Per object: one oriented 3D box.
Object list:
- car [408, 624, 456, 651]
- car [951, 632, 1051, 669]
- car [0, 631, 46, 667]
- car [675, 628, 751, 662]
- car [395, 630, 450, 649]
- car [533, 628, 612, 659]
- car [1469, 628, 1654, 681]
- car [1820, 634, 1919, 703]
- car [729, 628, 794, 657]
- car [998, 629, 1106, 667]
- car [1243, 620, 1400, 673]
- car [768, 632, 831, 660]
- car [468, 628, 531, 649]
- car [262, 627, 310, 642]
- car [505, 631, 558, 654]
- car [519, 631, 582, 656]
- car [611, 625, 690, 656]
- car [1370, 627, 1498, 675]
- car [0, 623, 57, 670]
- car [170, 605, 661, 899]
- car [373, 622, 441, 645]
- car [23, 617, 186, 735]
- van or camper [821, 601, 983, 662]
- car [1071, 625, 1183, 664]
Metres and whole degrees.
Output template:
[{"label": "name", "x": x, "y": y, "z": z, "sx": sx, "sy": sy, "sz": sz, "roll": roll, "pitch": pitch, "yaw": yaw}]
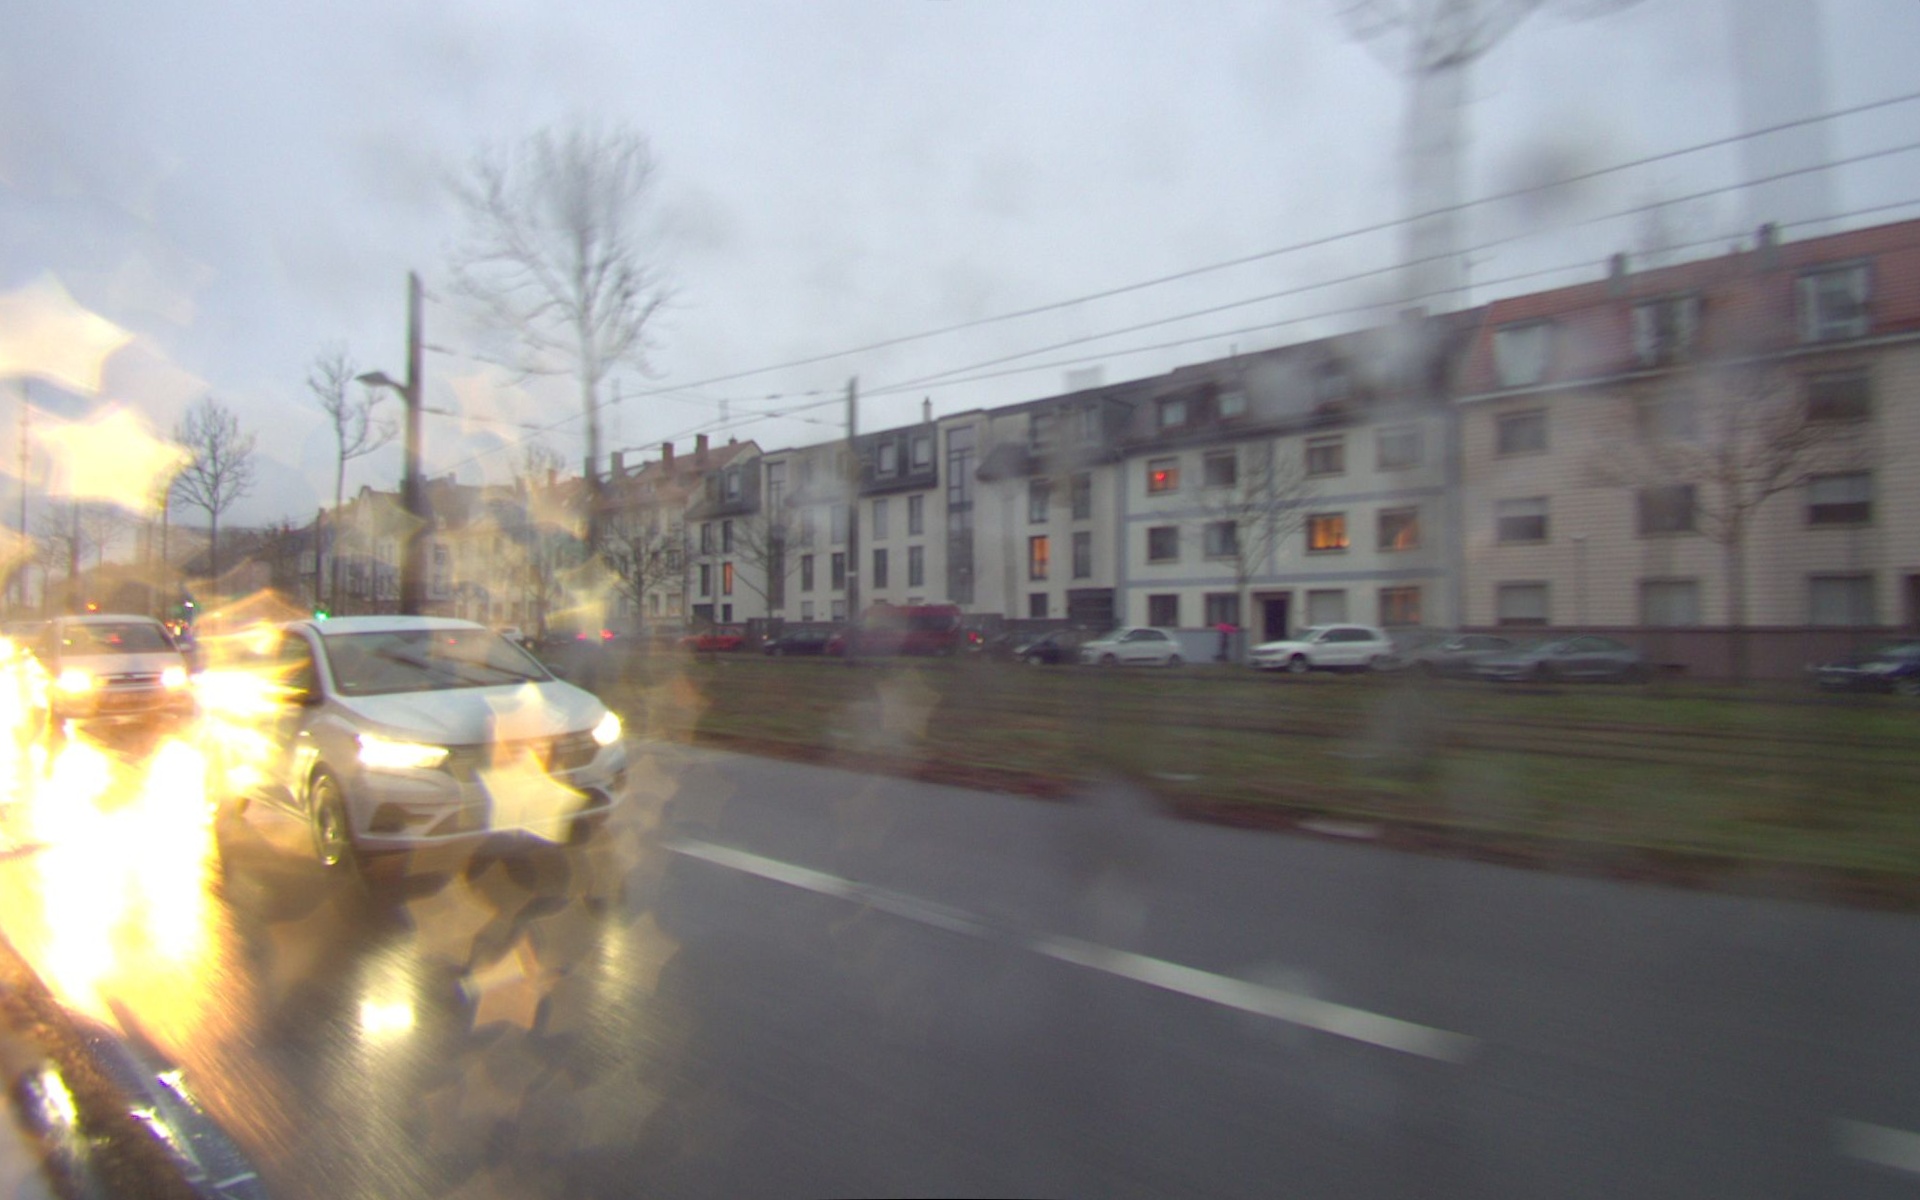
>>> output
[{"label": "car", "x": -33.899, "y": 2.371, "z": 64.922, "sx": 3.508, "sy": 1.635, "sz": 1.596, "roll": -2, "pitch": -1, "yaw": 43}, {"label": "car", "x": 1.593, "y": 1.949, "z": 39.426, "sx": 3.480, "sy": 1.221, "sz": 1.753, "roll": -1, "pitch": 0, "yaw": -16}, {"label": "car", "x": -43.067, "y": 2.209, "z": 46.248, "sx": 3.436, "sy": 1.498, "sz": 1.667, "roll": -2, "pitch": -1, "yaw": 43}, {"label": "car", "x": -12.912, "y": 2.312, "z": 52.837, "sx": 3.784, "sy": 1.600, "sz": 1.747, "roll": -1, "pitch": 0, "yaw": -16}, {"label": "car", "x": -41.964, "y": 3.046, "z": 79.018, "sx": 3.519, "sy": 1.319, "sz": 1.691, "roll": -2, "pitch": 0, "yaw": -17}, {"label": "car", "x": -20.073, "y": 2.224, "z": 52.342, "sx": 4.788, "sy": 1.514, "sz": 1.860, "roll": -2, "pitch": 0, "yaw": 42}, {"label": "car", "x": 15.343, "y": 1.354, "z": 25.841, "sx": 4.118, "sy": 1.124, "sz": 1.686, "roll": -1, "pitch": 0, "yaw": -17}, {"label": "car", "x": 20.631, "y": 1.413, "z": 21.584, "sx": 3.706, "sy": 1.347, "sz": 1.457, "roll": 0, "pitch": -2, "yaw": -12}, {"label": "car", "x": -9.837, "y": 2.085, "z": 50.343, "sx": 3.049, "sy": 1.312, "sz": 1.390, "roll": -1, "pitch": 0, "yaw": -6}, {"label": "car", "x": 3.367, "y": 1.728, "z": 37.290, "sx": 3.480, "sy": 1.209, "sz": 1.888, "roll": -1, "pitch": 0, "yaw": -16}, {"label": "car", "x": 10.831, "y": 1.369, "z": 30.451, "sx": 4.057, "sy": 1.389, "sz": 1.777, "roll": -1, "pitch": 0, "yaw": -11}, {"label": "car", "x": -7.566, "y": 2.168, "z": 47.832, "sx": 2.843, "sy": 1.213, "sz": 1.390, "roll": -1, "pitch": 0, "yaw": -6}, {"label": "car", "x": -31.989, "y": 2.690, "z": 70.401, "sx": 3.778, "sy": 1.255, "sz": 1.743, "roll": -2, "pitch": 0, "yaw": -18}, {"label": "car", "x": -71.682, "y": 3.679, "z": 107.634, "sx": 3.979, "sy": 1.239, "sz": 1.352, "roll": -3, "pitch": 2, "yaw": -11}, {"label": "car", "x": -27.660, "y": 2.749, "z": 65.418, "sx": 2.887, "sy": 1.346, "sz": 1.742, "roll": -2, "pitch": 0, "yaw": -15}, {"label": "car", "x": -25.431, "y": 2.695, "z": 63.000, "sx": 3.331, "sy": 1.432, "sz": 1.673, "roll": -1, "pitch": 0, "yaw": -9}, {"label": "car", "x": -17.367, "y": 2.244, "z": 56.891, "sx": 4.094, "sy": 1.552, "sz": 1.674, "roll": -1, "pitch": 0, "yaw": -11}, {"label": "car", "x": 13.125, "y": 1.387, "z": 28.049, "sx": 2.993, "sy": 1.156, "sz": 1.401, "roll": -1, "pitch": 0, "yaw": -17}, {"label": "car", "x": -32.135, "y": 1.568, "z": 34.444, "sx": 3.657, "sy": 1.495, "sz": 1.879, "roll": -2, "pitch": -1, "yaw": 45}, {"label": "car", "x": -3.994, "y": 0.832, "z": 7.136, "sx": 3.997, "sy": 1.485, "sz": 1.671, "roll": -2, "pitch": 0, "yaw": 40}, {"label": "car", "x": -45.650, "y": 2.747, "z": 83.653, "sx": 4.581, "sy": 1.736, "sz": 1.838, "roll": -2, "pitch": 0, "yaw": -13}, {"label": "car", "x": -13.184, "y": 1.065, "z": 15.512, "sx": 1.615, "sy": 1.531, "sz": 3.910, "roll": -1, "pitch": -1, "yaw": -44}, {"label": "van or camper", "x": -2.538, "y": 1.330, "z": 44.159, "sx": 6.766, "sy": 2.378, "sz": 2.005, "roll": -1, "pitch": 0, "yaw": -14}, {"label": "car", "x": 5.717, "y": 1.514, "z": 34.833, "sx": 3.361, "sy": 1.156, "sz": 1.696, "roll": -1, "pitch": 0, "yaw": -16}]
